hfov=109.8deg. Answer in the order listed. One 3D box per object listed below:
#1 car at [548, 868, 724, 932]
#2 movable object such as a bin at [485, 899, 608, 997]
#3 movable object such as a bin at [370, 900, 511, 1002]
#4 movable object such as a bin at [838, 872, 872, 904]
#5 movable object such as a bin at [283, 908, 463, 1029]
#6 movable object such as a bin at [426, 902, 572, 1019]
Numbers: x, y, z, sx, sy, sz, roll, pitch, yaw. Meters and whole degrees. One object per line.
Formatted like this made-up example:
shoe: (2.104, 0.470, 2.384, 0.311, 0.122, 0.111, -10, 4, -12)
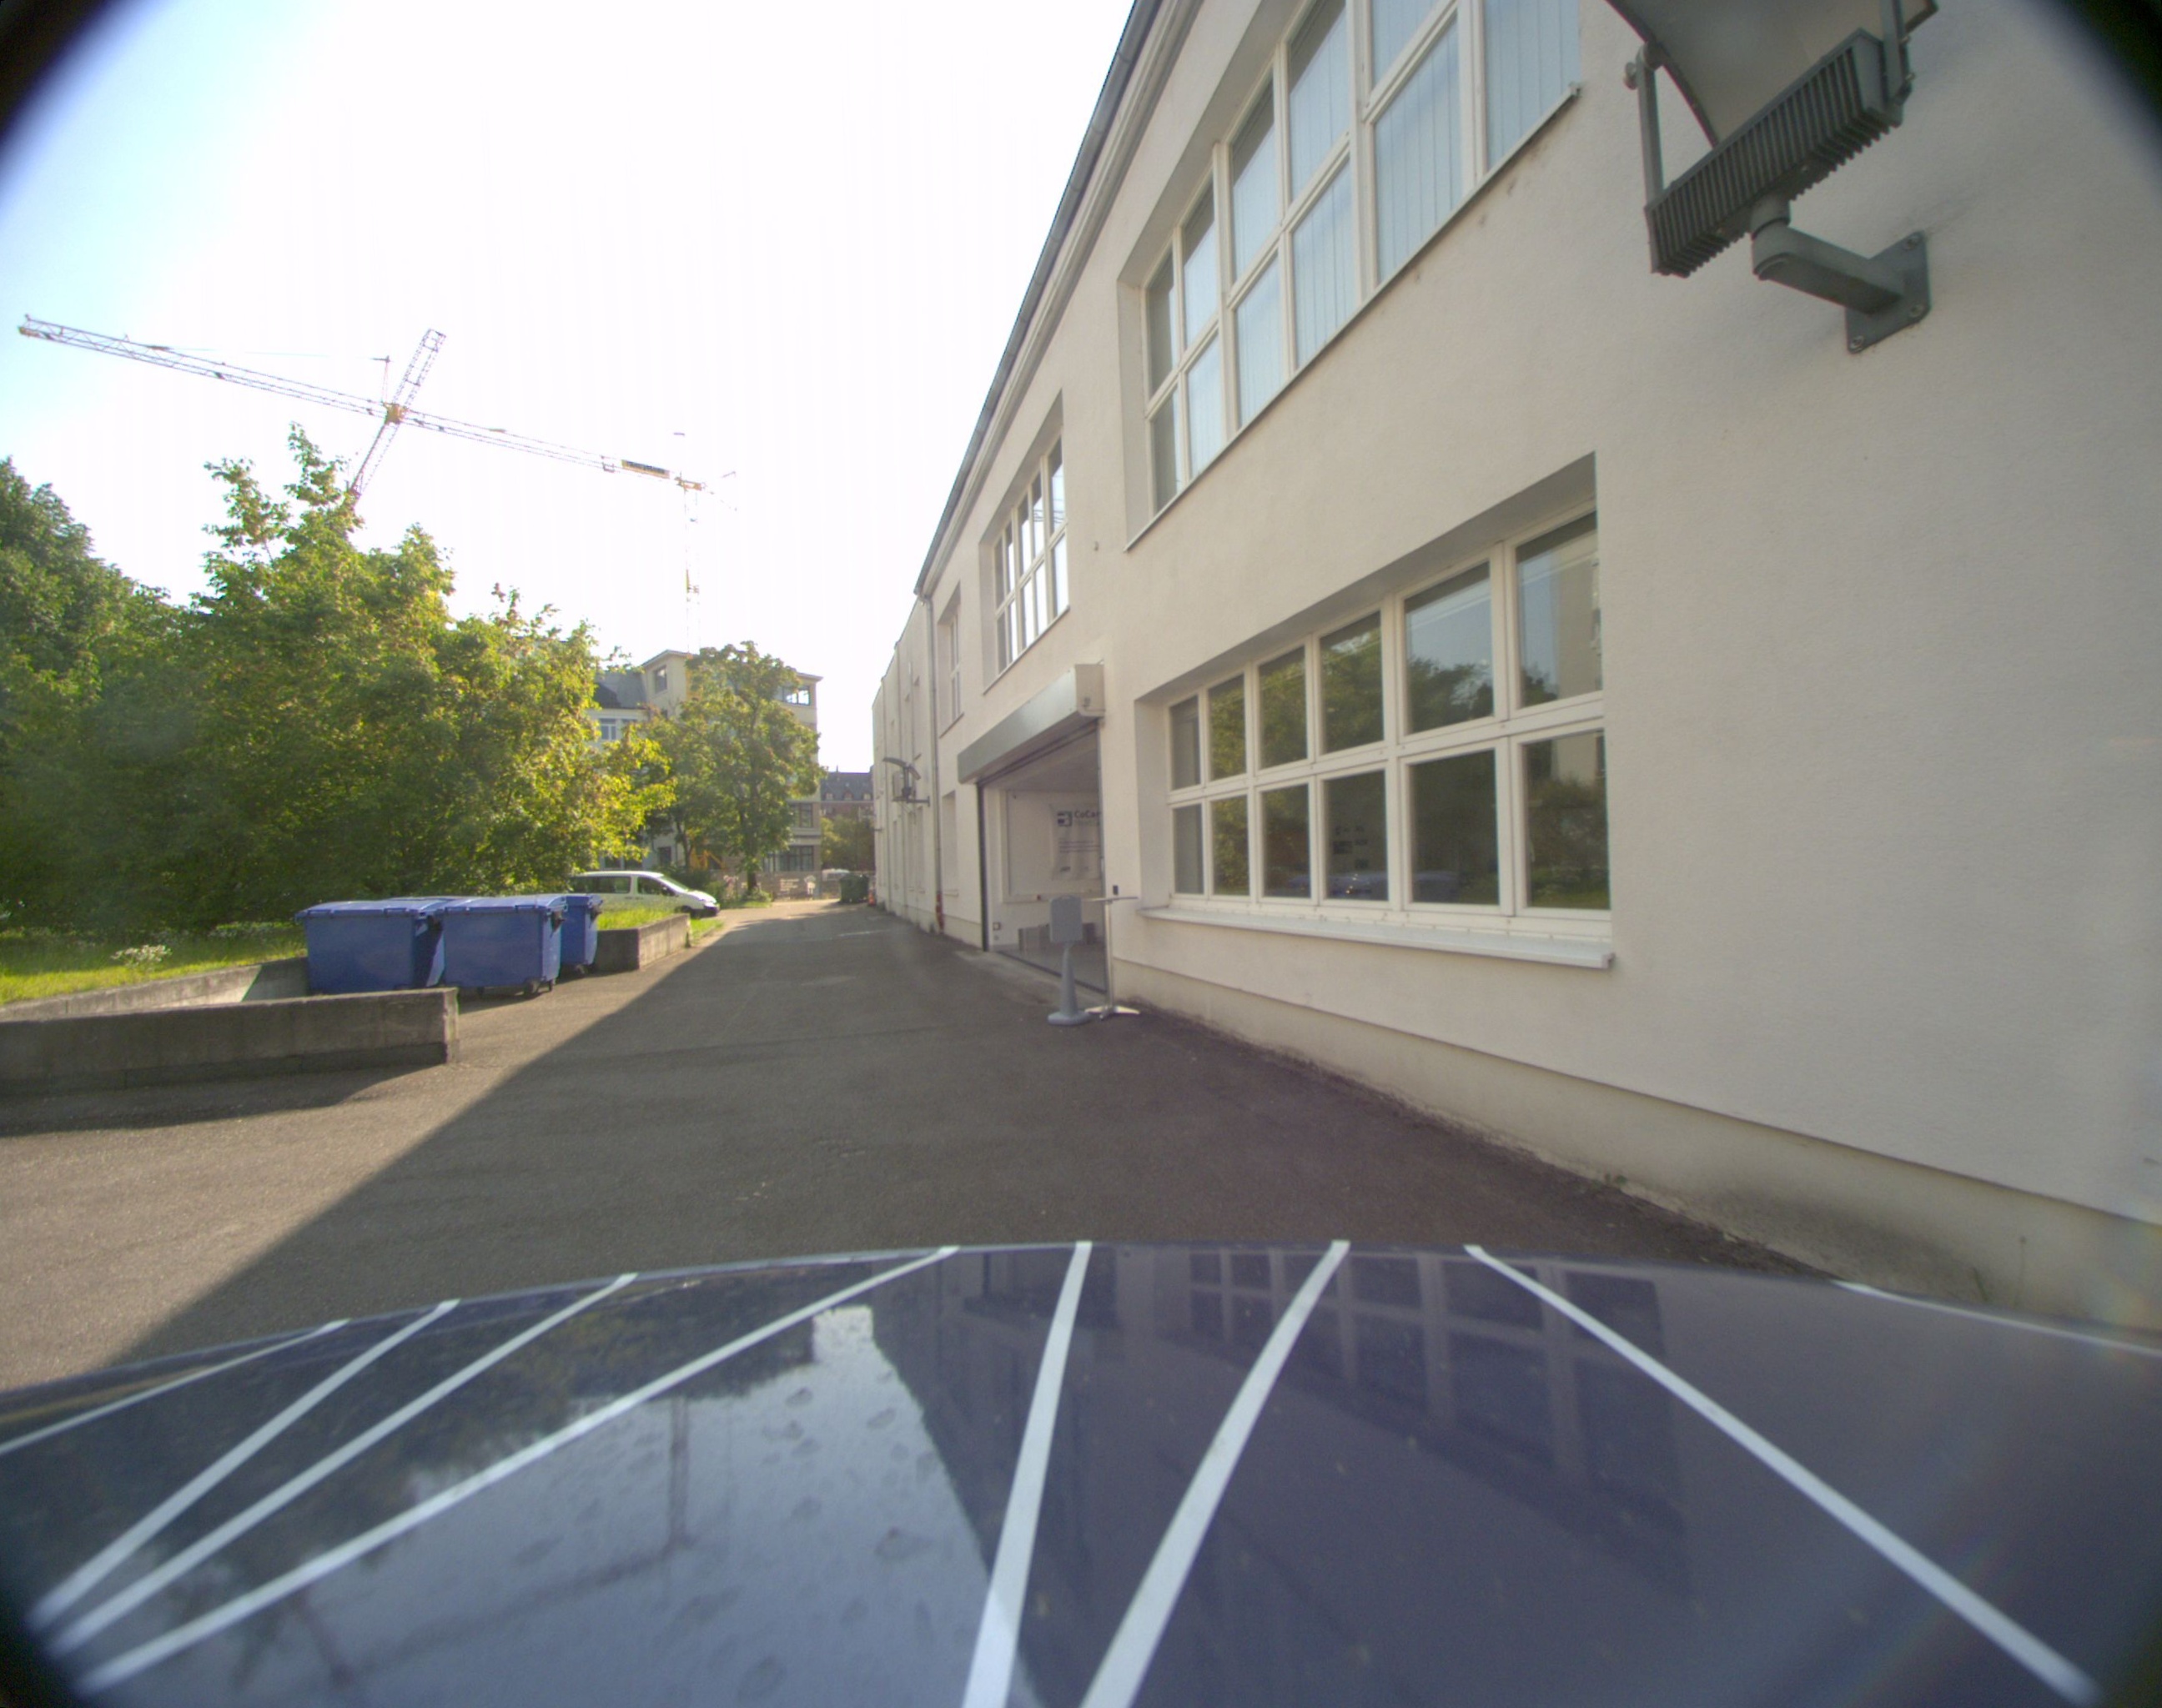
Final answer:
car: (-14.896, 1.504, 25.762, 4.797, 1.920, 1.906, -1, -1, -17)
movable object such as a bin: (-8.229, 1.401, 11.789, 1.201, 1.319, 1.273, -2, 0, -19)
movable object such as a bin: (-9.535, 1.408, 11.399, 1.201, 1.319, 1.273, -2, 0, -19)
movable object such as a bin: (-11.069, 1.644, 37.156, 1.527, 1.457, 1.273, -2, 0, -19)
movable object such as a bin: (-9.086, 1.416, 9.855, 1.259, 1.319, 1.273, -2, 0, -19)
movable object such as a bin: (-7.804, 1.381, 10.285, 1.215, 1.343, 1.273, -2, 0, -21)
